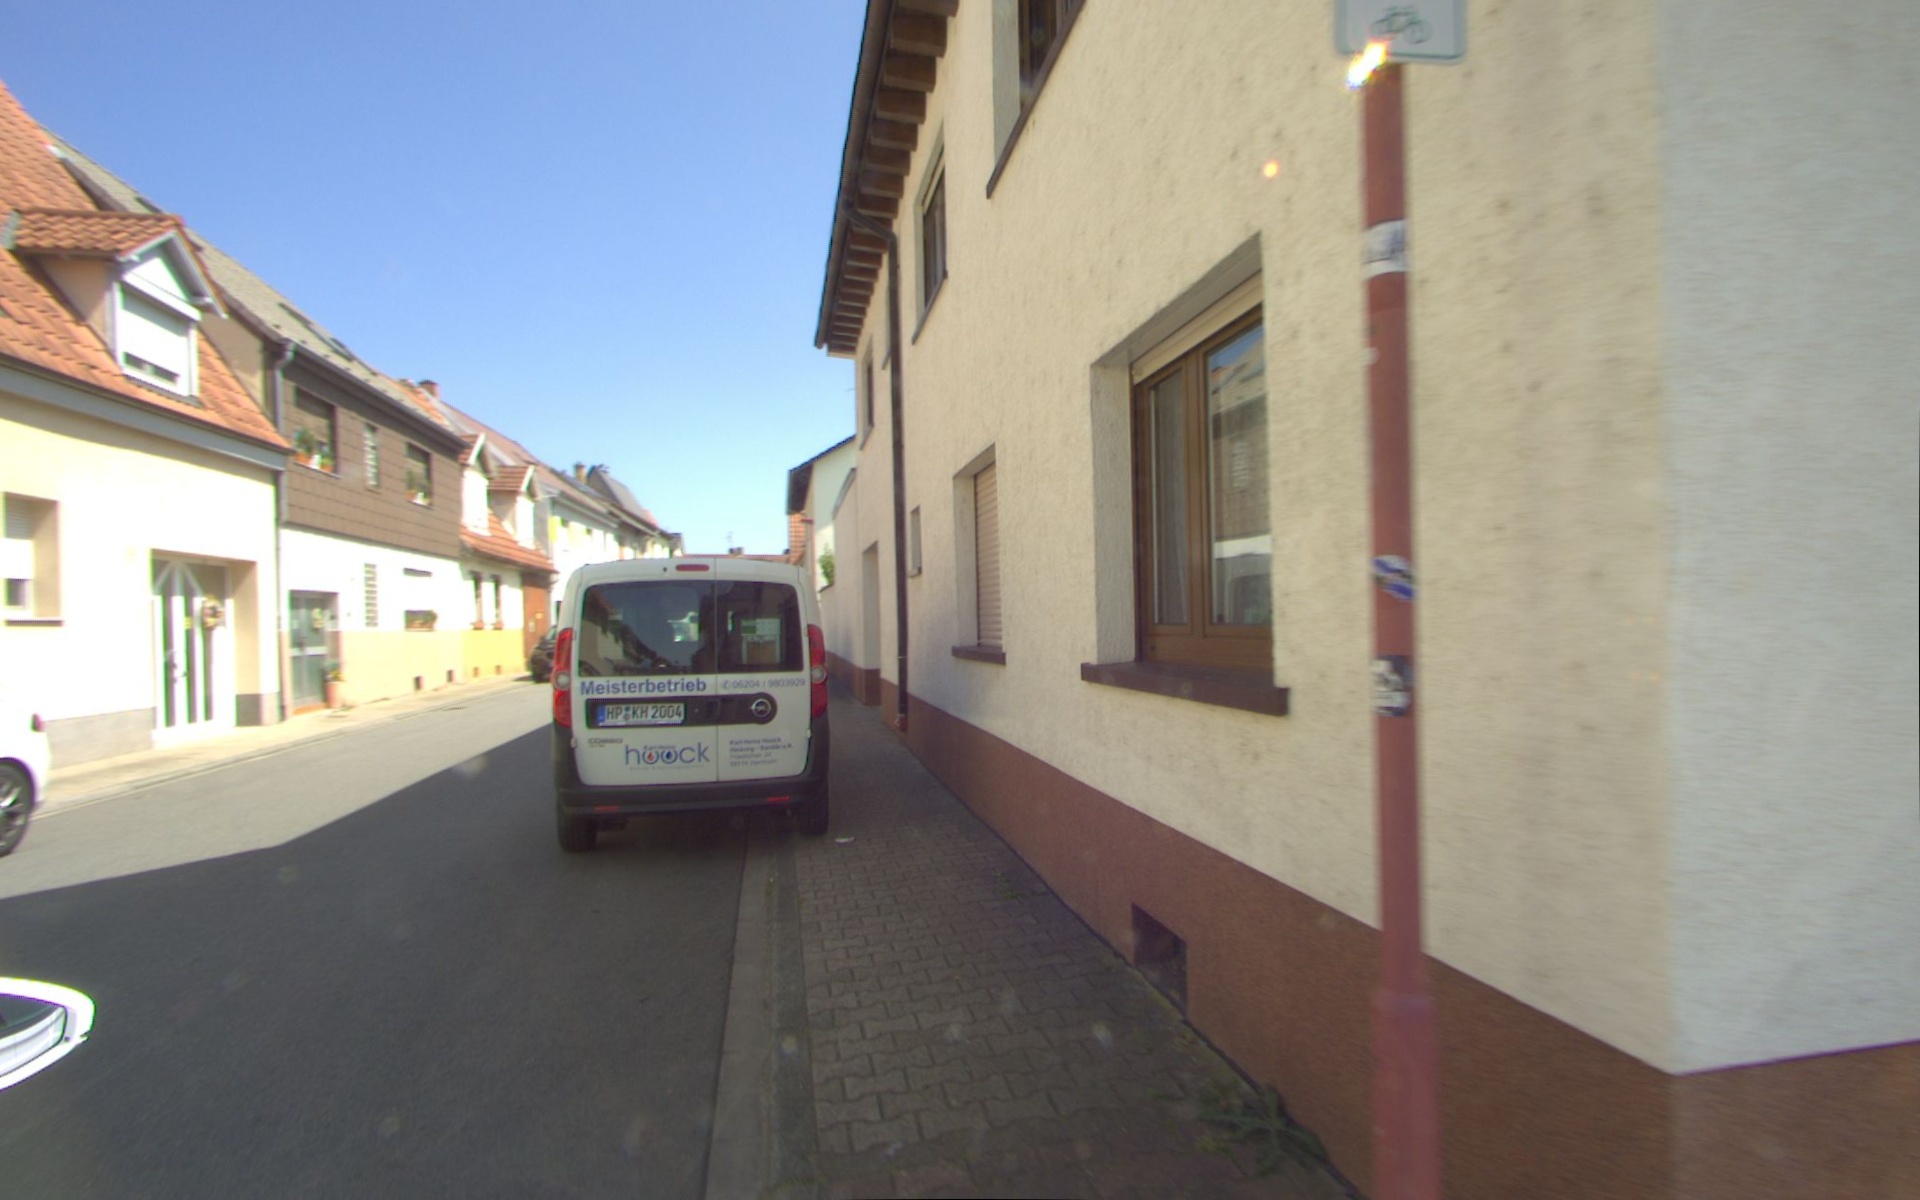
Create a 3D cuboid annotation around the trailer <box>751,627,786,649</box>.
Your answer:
[{"bbox_3d":[-9.756,1.932,51.224,1.673,1.046,3.479,-1,-1,-10],"label":"trailer"}]

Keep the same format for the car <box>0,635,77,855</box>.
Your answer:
[{"bbox_3d":[-7.111,0.965,5.226,1.754,1.473,4.214,-2,-1,-10],"label":"car"}]

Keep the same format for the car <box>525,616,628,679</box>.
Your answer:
[{"bbox_3d":[-10.842,1.299,28.633,1.771,1.594,4.613,-2,-1,-9],"label":"car"}]

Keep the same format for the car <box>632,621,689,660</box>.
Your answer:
[{"bbox_3d":[-12.304,1.623,41.332,1.772,1.459,4.485,-2,-1,-11],"label":"car"}]

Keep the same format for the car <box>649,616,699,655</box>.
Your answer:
[{"bbox_3d":[-13.848,1.684,48.734,1.772,1.726,4.486,-3,-1,-10],"label":"car"}]

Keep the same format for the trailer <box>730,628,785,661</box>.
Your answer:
[{"bbox_3d":[-7.384,1.601,36.787,1.789,1.104,3.480,-1,-1,-9],"label":"trailer"}]

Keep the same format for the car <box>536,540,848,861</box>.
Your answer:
[{"bbox_3d":[-2.091,0.653,8.325,1.782,1.848,4.847,1,-2,-13],"label":"car"}]

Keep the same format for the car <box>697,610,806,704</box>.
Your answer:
[{"bbox_3d":[-4.007,1.035,19.579,1.763,1.500,4.931,-3,-1,-10],"label":"car"}]

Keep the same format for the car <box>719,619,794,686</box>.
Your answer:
[{"bbox_3d":[-5.010,1.229,24.714,1.623,1.455,4.132,-2,-1,-12],"label":"car"}]
